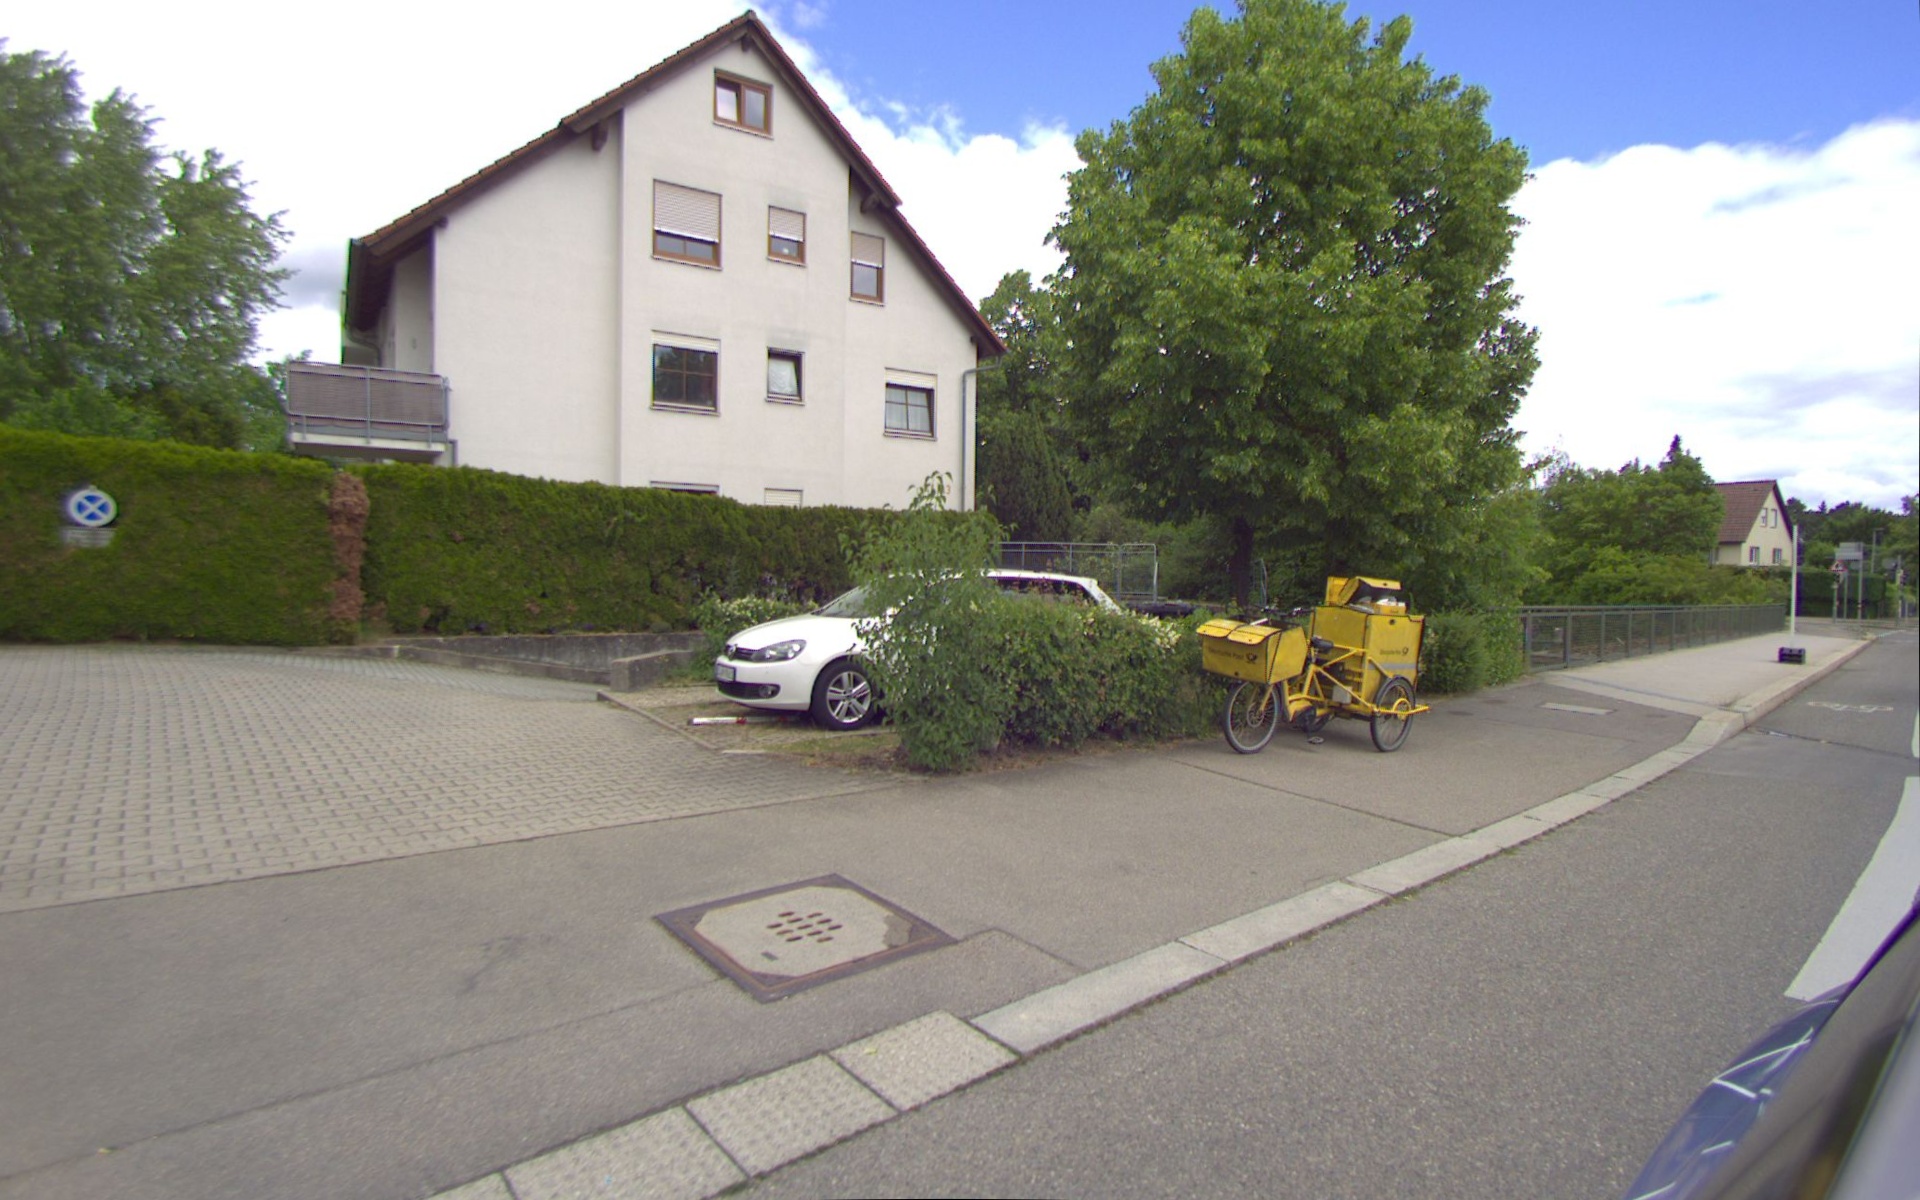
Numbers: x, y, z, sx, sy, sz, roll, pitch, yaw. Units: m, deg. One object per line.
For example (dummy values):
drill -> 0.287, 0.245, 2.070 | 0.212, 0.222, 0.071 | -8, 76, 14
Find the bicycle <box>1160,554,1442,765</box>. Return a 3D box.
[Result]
bicycle -> 3.024, 0.445, 8.786 | 2.733, 1.528, 0.894 | 1, 5, -40

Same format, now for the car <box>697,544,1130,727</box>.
car -> -0.397, 0.337, 10.140 | 3.979, 1.523, 1.677 | 2, 0, -31
